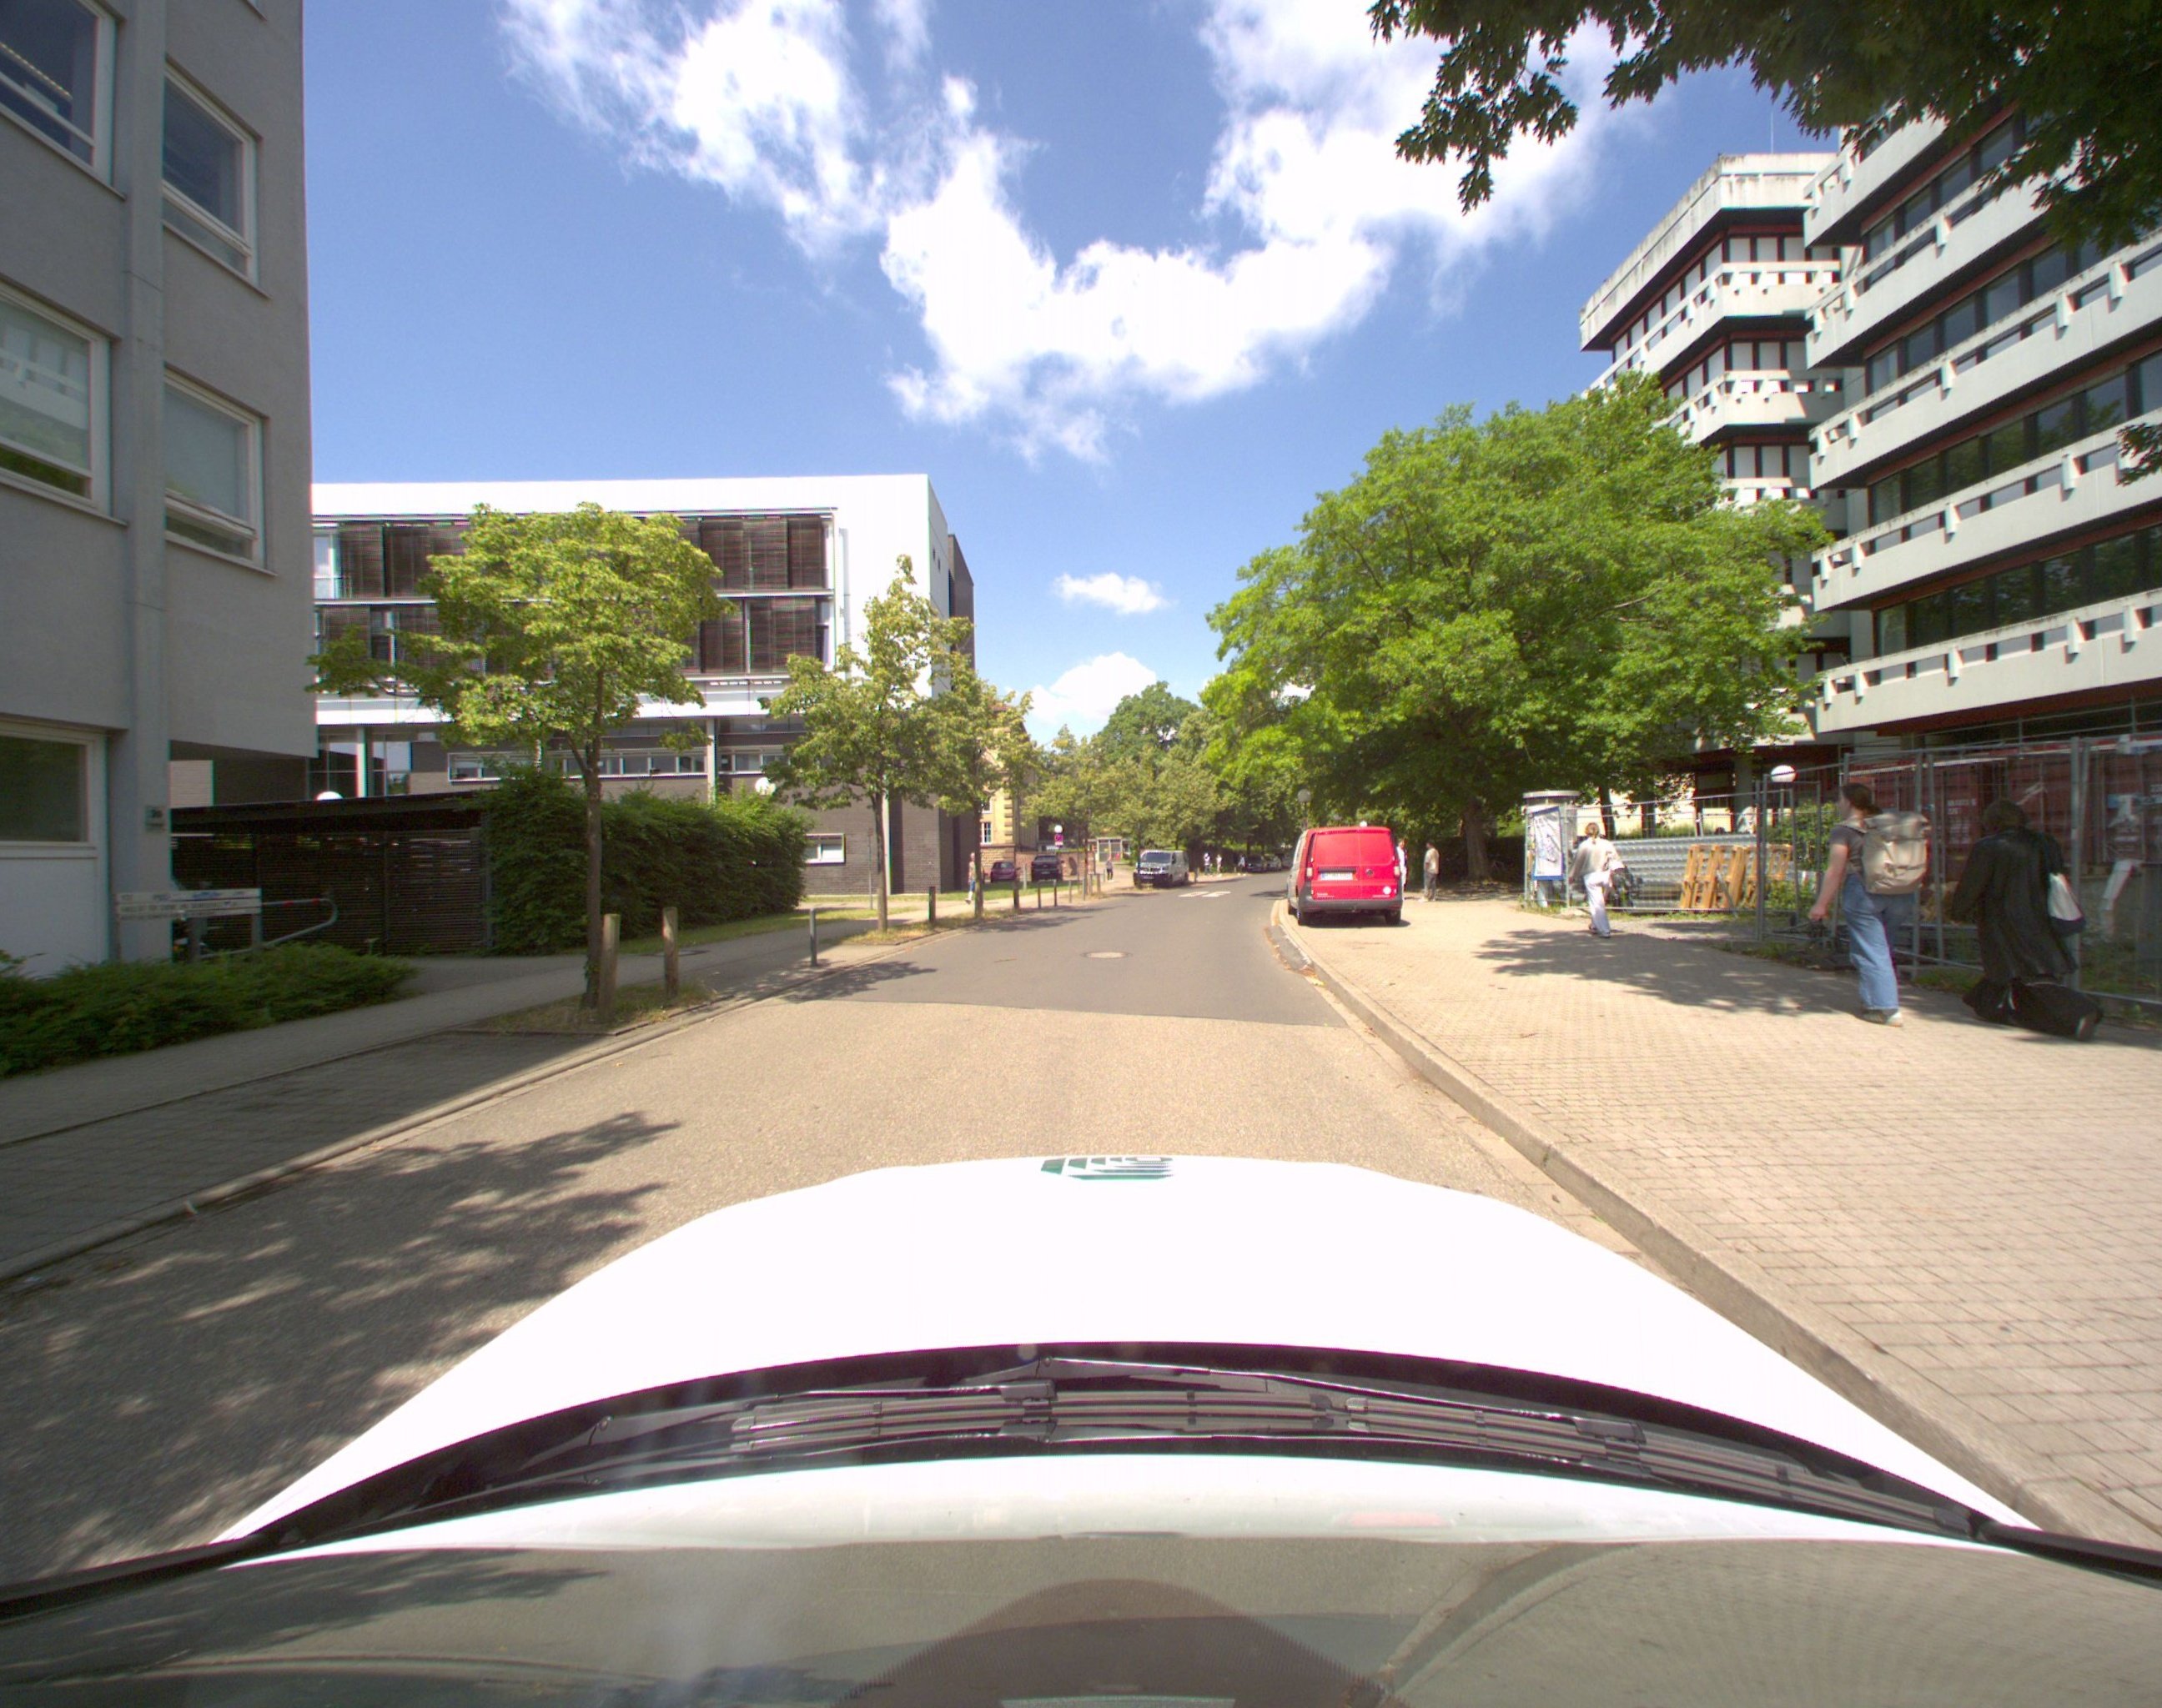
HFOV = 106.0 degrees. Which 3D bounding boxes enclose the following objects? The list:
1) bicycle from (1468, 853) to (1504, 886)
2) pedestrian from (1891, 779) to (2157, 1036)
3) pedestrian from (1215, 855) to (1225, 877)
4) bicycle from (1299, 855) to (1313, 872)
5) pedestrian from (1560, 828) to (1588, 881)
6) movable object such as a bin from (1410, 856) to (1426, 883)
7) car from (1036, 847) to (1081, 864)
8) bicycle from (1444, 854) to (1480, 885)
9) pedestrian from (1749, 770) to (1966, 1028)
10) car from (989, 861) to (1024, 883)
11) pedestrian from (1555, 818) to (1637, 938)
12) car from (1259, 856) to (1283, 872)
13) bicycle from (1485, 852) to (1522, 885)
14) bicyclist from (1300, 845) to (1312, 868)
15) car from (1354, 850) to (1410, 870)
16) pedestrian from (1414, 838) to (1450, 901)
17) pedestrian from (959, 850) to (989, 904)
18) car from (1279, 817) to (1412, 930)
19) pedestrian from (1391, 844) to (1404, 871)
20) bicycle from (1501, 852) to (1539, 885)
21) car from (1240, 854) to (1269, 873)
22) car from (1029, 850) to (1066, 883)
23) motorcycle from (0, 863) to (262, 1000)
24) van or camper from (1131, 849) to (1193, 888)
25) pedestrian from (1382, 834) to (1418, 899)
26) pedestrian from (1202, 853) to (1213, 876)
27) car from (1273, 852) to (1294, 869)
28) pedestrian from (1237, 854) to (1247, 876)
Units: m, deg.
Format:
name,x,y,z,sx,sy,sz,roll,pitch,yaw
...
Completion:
name,x,y,z,sx,sy,sz,roll,pitch,yaw
bicycle,14.663,0.547,29.512,0.496,1.119,1.875,-2,-1,6
pedestrian,6.419,0.341,5.620,0.665,1.600,0.987,-2,-1,6
pedestrian,10.030,0.847,58.731,0.584,1.527,0.492,-1,-1,-11
bicycle,13.328,0.554,48.267,0.608,1.001,1.431,-2,-1,21
pedestrian,17.456,0.017,28.844,0.540,1.837,0.763,-2,-1,7
movable object such as a bin,13.760,0.636,33.243,0.486,1.072,0.506,-1,-1,7
car,-2.205,0.128,80.037,4.098,1.517,1.746,-1,-1,-17
bicycle,14.136,0.572,30.262,0.616,1.119,1.875,-2,-1,6
pedestrian,5.651,0.317,5.986,0.845,1.764,0.717,-2,-1,6
car,-4.637,1.107,51.109,1.812,1.324,3.766,-1,0,-1
pedestrian,7.294,0.333,11.567,0.709,1.631,0.712,-2,-1,6
car,17.498,0.876,74.884,1.602,1.388,4.021,-2,0,21
bicycle,15.203,0.515,29.354,0.496,1.119,1.939,-2,-1,6
bicyclist,13.340,0.154,48.331,0.604,1.296,0.614,-2,-1,21
car,26.139,0.495,70.644,4.446,1.525,1.820,-3,-1,22
pedestrian,9.714,0.415,22.557,0.749,1.710,0.558,-1,-1,-36
pedestrian,-3.547,0.750,27.034,0.579,1.764,0.915,-2,-1,18
car,5.123,0.336,16.439,1.837,1.891,4.904,-2,0,10
pedestrian,21.865,0.259,56.301,0.665,1.872,0.797,-2,-1,30
bicycle,15.723,0.516,29.199,0.496,1.119,1.875,-2,-1,6
car,14.489,0.785,67.817,1.745,1.522,4.133,-2,0,21
car,-2.070,0.753,51.167,2.169,1.926,5.182,-1,0,-2
motorcycle,-11.857,0.917,10.157,2.091,1.551,1.081,-1,0,-3
van or camper,4.355,0.709,42.968,1.937,1.923,5.447,0,0,20
pedestrian,9.122,0.359,23.283,0.727,1.822,0.623,-1,-1,-36
pedestrian,9.301,0.756,59.930,0.625,1.663,0.603,-1,-1,-3
car,20.691,0.667,83.014,1.602,1.679,4.021,-2,0,21
pedestrian,11.955,0.814,60.493,0.497,1.585,0.489,-1,-1,-31
